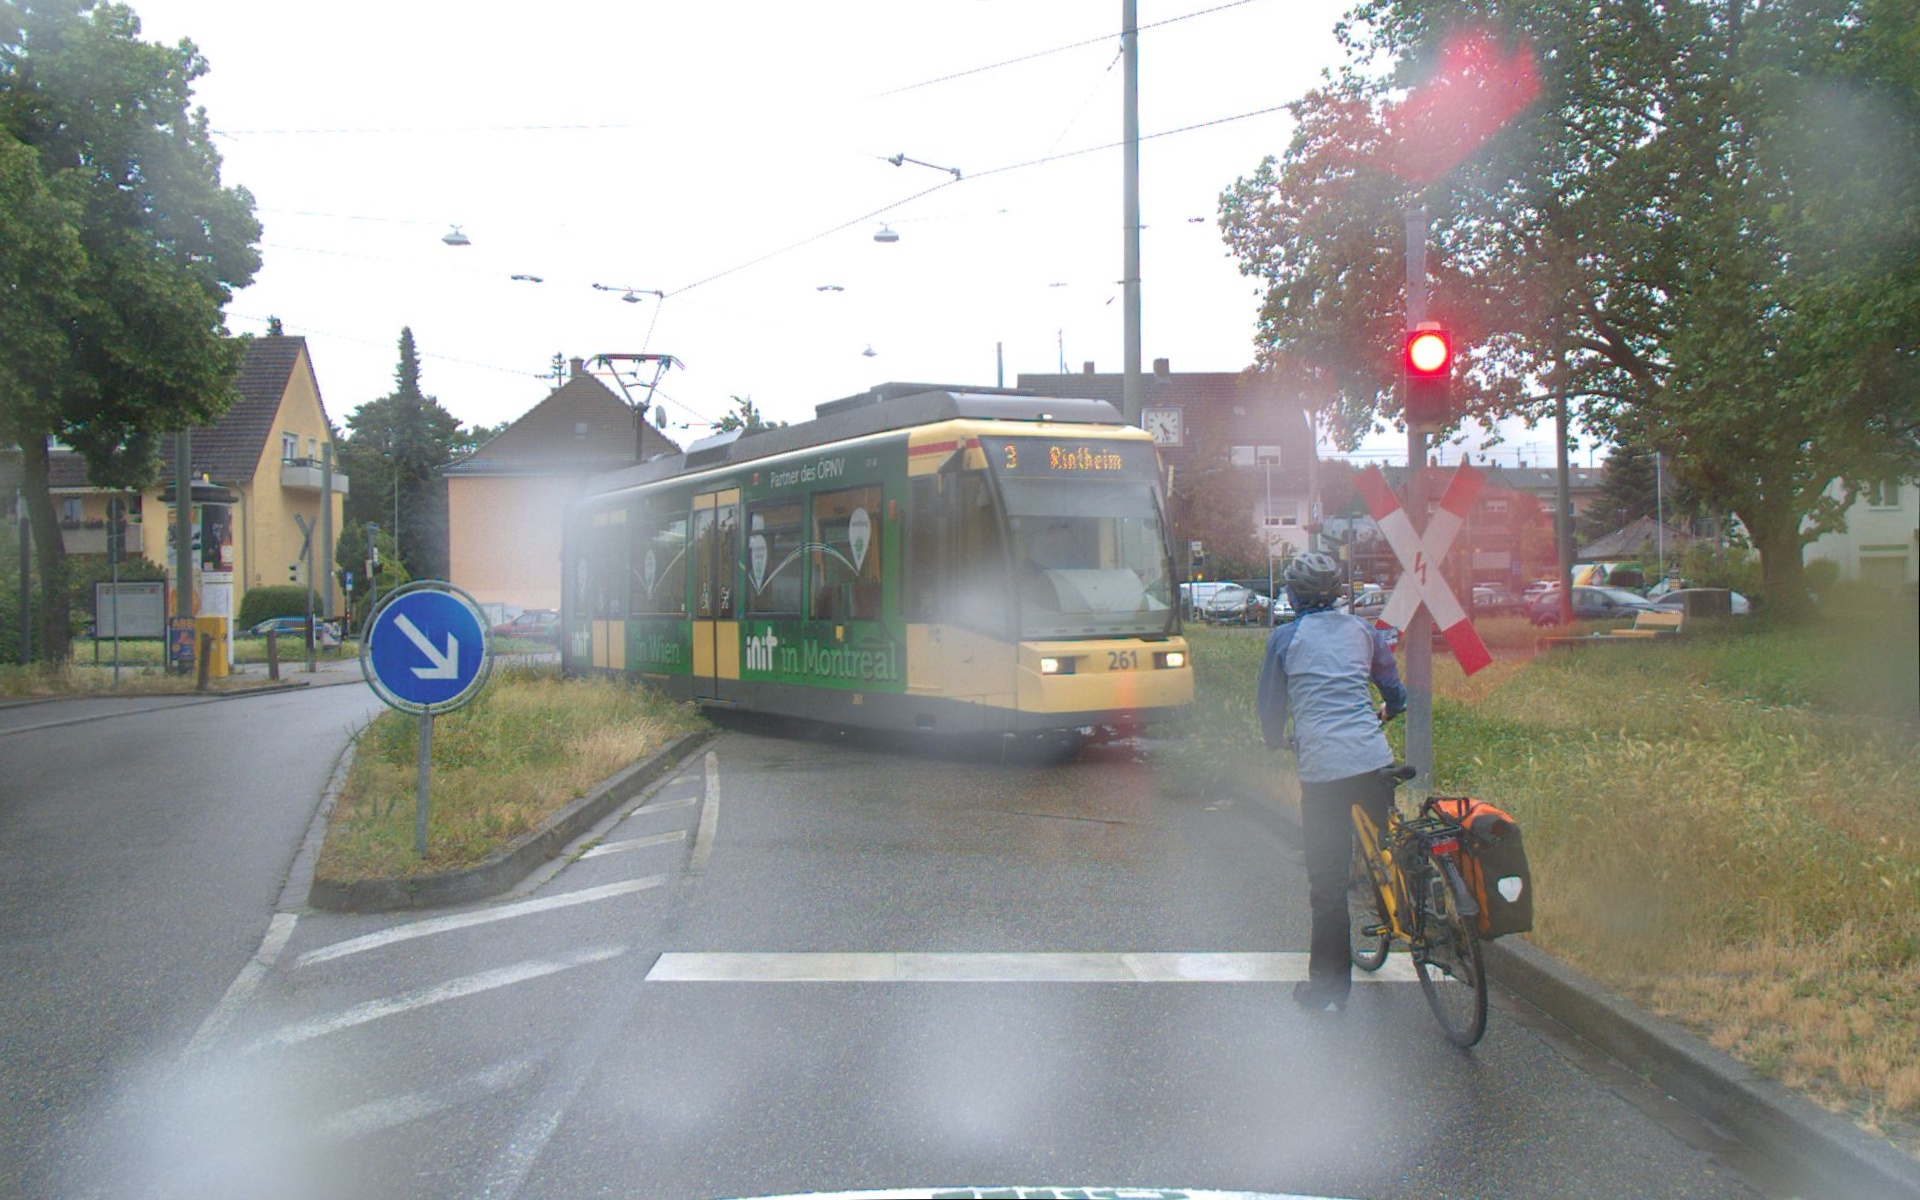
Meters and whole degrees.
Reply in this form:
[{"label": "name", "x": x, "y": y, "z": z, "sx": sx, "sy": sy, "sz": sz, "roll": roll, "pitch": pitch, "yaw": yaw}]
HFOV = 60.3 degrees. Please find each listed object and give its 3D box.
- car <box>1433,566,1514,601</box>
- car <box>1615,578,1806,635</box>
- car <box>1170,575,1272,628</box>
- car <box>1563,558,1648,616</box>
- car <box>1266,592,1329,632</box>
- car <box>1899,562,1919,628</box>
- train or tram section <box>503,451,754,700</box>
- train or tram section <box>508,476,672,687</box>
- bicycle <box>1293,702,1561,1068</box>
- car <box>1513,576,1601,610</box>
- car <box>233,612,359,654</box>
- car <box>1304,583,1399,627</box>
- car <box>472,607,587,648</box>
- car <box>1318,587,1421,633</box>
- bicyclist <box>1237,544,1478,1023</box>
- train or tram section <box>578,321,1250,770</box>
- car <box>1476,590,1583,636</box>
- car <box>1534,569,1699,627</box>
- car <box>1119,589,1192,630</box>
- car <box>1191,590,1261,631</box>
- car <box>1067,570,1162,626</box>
[{"label": "car", "x": 28.558, "y": -0.898, "z": 92.065, "sx": 3.904, "sy": 1.822, "sz": 2.000, "roll": 1, "pitch": 0, "yaw": 2}, {"label": "car", "x": 18.470, "y": 0.154, "z": 40.862, "sx": 3.902, "sy": 1.308, "sz": 1.847, "roll": 1, "pitch": 0, "yaw": 6}, {"label": "car", "x": 12.020, "y": 0.071, "z": 76.414, "sx": 4.307, "sy": 2.365, "sz": 1.999, "roll": 1, "pitch": -1, "yaw": -3}, {"label": "car", "x": 28.829, "y": -0.559, "z": 74.027, "sx": 1.953, "sy": 2.485, "sz": 4.352, "roll": 1, "pitch": 0, "yaw": -2}, {"label": "car", "x": 14.565, "y": 0.523, "z": 71.179, "sx": 1.804, "sy": 1.668, "sz": 3.997, "roll": 1, "pitch": 0, "yaw": 24}, {"label": "car", "x": 28.140, "y": -0.109, "z": 45.529, "sx": 3.703, "sy": 1.829, "sz": 1.798, "roll": 1, "pitch": -1, "yaw": 43}, {"label": "train or tram section", "x": -5.498, "y": -0.354, "z": 26.809, "sx": 2.728, "sy": 3.615, "sz": 4.943, "roll": -1, "pitch": 0, "yaw": -27}, {"label": "train or tram section", "x": -7.607, "y": -0.315, "z": 35.028, "sx": 2.711, "sy": 3.615, "sz": 13.097, "roll": -1, "pitch": 0, "yaw": -11}, {"label": "bicycle", "x": 1.648, "y": 0.953, "z": 6.079, "sx": 0.437, "sy": 1.022, "sz": 1.727, "roll": -1, "pitch": 0, "yaw": -2}, {"label": "car", "x": 31.070, "y": -0.350, "z": 86.073, "sx": 3.905, "sy": 1.668, "sz": 1.846, "roll": 1, "pitch": 0, "yaw": -1}, {"label": "car", "x": -24.438, "y": 1.208, "z": 60.963, "sx": 3.911, "sy": 1.482, "sz": 1.831, "roll": 1, "pitch": 0, "yaw": -7}, {"label": "car", "x": 18.097, "y": 0.234, "z": 76.543, "sx": 3.907, "sy": 1.985, "sz": 1.999, "roll": 1, "pitch": -1, "yaw": -3}, {"label": "car", "x": -16.183, "y": 1.025, "z": 62.333, "sx": 3.911, "sy": 1.482, "sz": 1.831, "roll": 1, "pitch": 0, "yaw": -7}, {"label": "car", "x": 16.155, "y": 0.399, "z": 65.343, "sx": 3.609, "sy": 1.731, "sz": 1.890, "roll": 1, "pitch": -1, "yaw": 0}, {"label": "bicyclist", "x": 1.454, "y": 0.641, "z": 6.176, "sx": 0.653, "sy": 1.654, "sz": 0.852, "roll": 1, "pitch": -1, "yaw": -2}, {"label": "train or tram section", "x": -1.488, "y": -0.409, "z": 19.318, "sx": 2.729, "sy": 3.615, "sz": 12.089, "roll": -1, "pitch": 0, "yaw": -28}, {"label": "car", "x": 22.613, "y": 0.514, "z": 65.743, "sx": 3.609, "sy": 1.731, "sz": 1.890, "roll": 1, "pitch": -1, "yaw": 0}, {"label": "car", "x": 18.018, "y": -0.070, "z": 45.499, "sx": 3.848, "sy": 1.522, "sz": 1.798, "roll": 1, "pitch": -1, "yaw": 43}, {"label": "car", "x": 8.350, "y": 0.410, "z": 70.475, "sx": 1.954, "sy": 1.668, "sz": 3.997, "roll": 1, "pitch": 0, "yaw": 24}, {"label": "car", "x": 11.403, "y": 0.465, "z": 70.741, "sx": 1.954, "sy": 1.668, "sz": 3.997, "roll": 1, "pitch": 0, "yaw": 24}, {"label": "car", "x": 7.483, "y": -0.109, "z": 79.913, "sx": 4.301, "sy": 2.610, "sz": 2.001, "roll": 1, "pitch": -1, "yaw": 14}]
